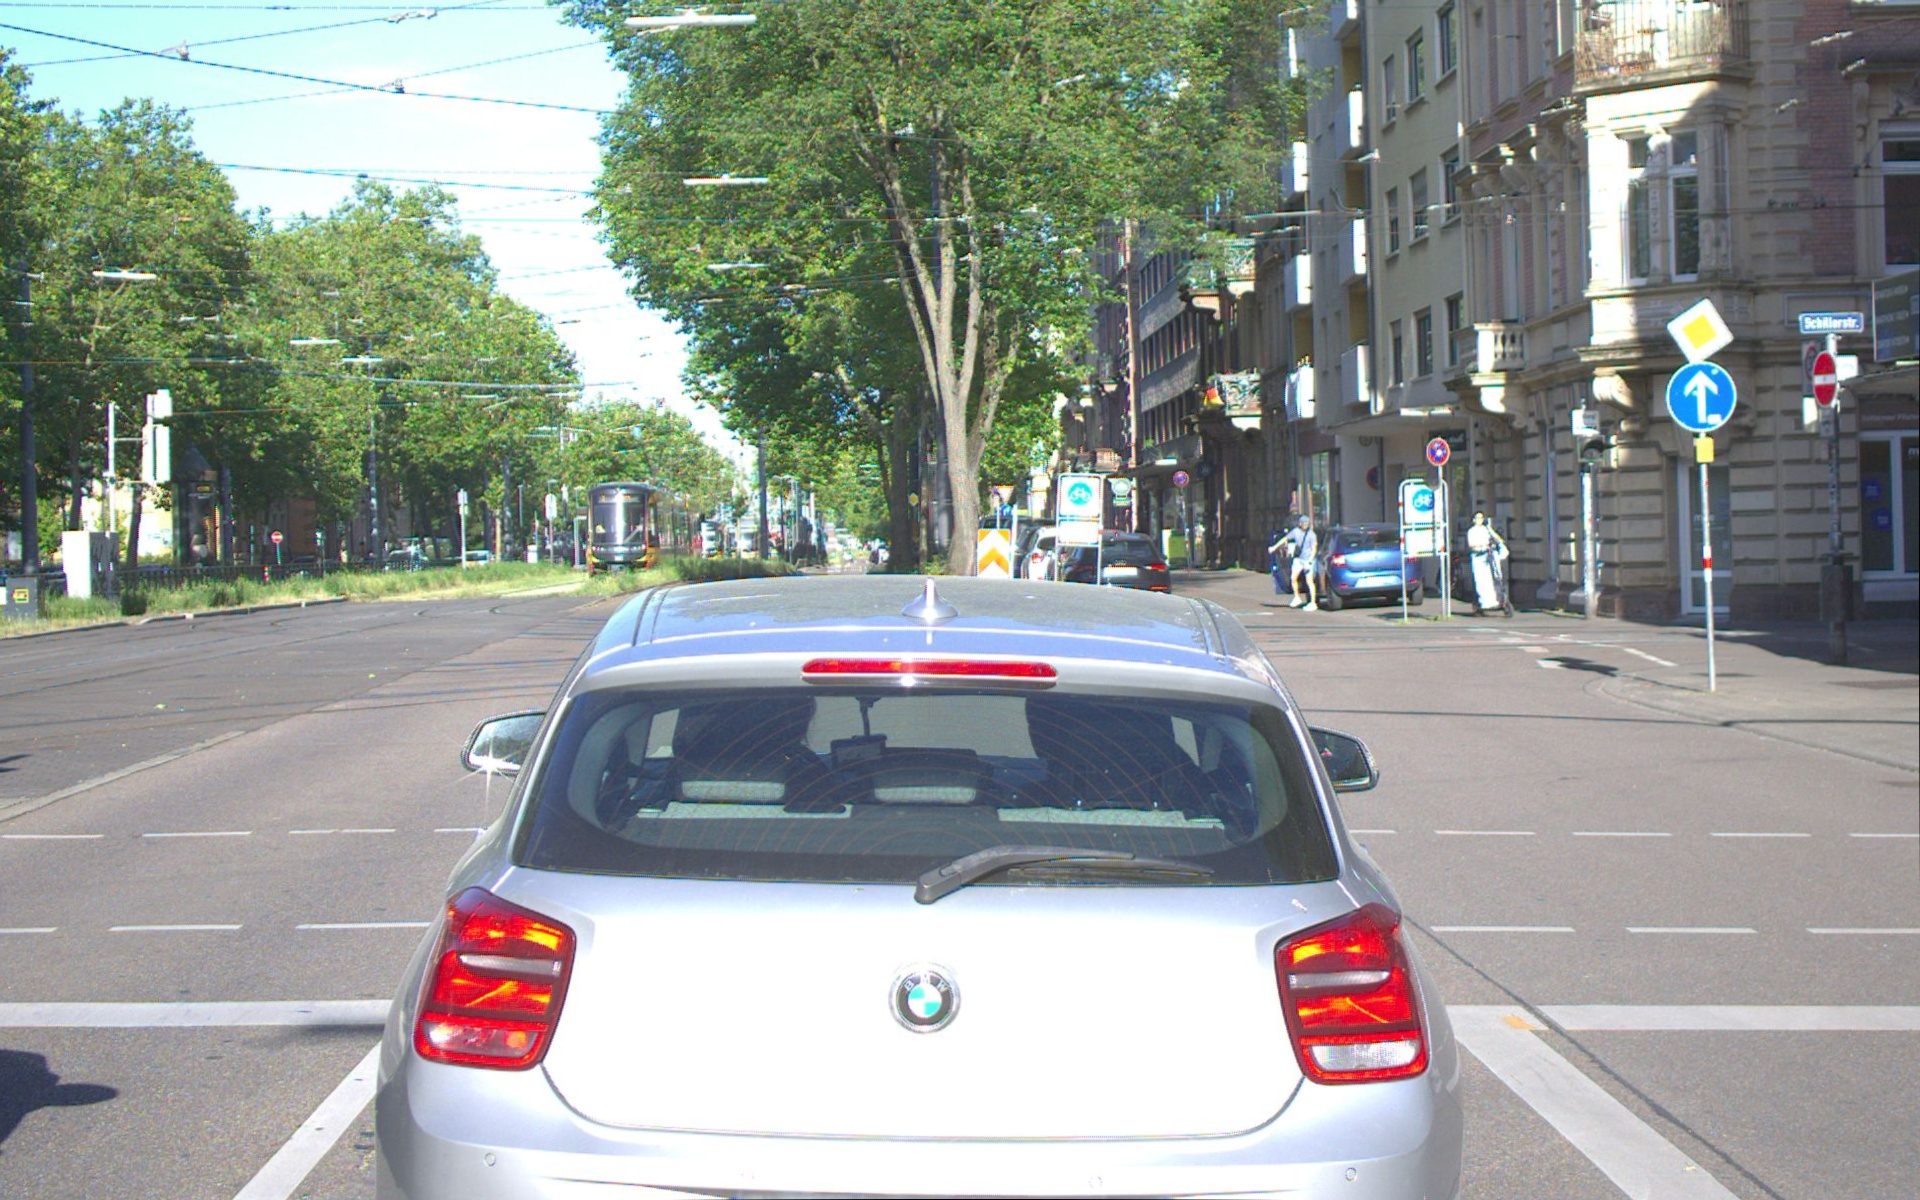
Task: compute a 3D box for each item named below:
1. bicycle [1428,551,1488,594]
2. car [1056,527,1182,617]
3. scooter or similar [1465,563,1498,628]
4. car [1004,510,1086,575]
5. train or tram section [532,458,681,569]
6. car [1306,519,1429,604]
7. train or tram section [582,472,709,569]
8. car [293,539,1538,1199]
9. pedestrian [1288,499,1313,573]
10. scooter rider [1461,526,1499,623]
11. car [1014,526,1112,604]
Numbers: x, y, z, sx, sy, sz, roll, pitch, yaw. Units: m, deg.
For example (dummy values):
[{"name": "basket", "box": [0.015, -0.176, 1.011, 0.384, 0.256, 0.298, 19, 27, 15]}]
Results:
[{"name": "bicycle", "box": [9.186, -0.516, 63.494, 0.754, 0.768, 1.945, -1, 1, -2]}, {"name": "car", "box": [2.612, -0.487, 57.115, 1.735, 1.428, 3.678, 0, 1, -3]}, {"name": "scooter or similar", "box": [8.211, -0.076, 54.188, 0.337, 0.984, 1.284, -1, 1, 1]}, {"name": "car", "box": [1.992, -1.375, 81.249, 1.724, 1.501, 3.555, 0, 1, -2]}, {"name": "train or tram section", "box": [-13.147, -3.231, 129.679, 3.969, 3.852, 17.490, -1, 1, -1]}, {"name": "car", "box": [7.462, -0.723, 63.264, 1.735, 1.514, 3.637, 0, 1, -1]}, {"name": "train or tram section", "box": [-13.304, -3.403, 147.208, 4.005, 3.852, 17.490, -1, 1, -1]}, {"name": "car", "box": [-0.093, 0.632, 6.836, 1.740, 1.462, 4.000, 1, 1, -1]}, {"name": "pedestrian", "box": [8.419, -1.581, 85.030, 0.505, 1.795, 0.805, -1, 1, -1]}, {"name": "scooter rider", "box": [8.193, -0.408, 54.185, 0.465, 1.500, 0.811, -1, 1, 1]}, {"name": "car", "box": [2.033, -0.718, 68.614, 1.724, 1.501, 3.555, 0, 1, -2]}]
